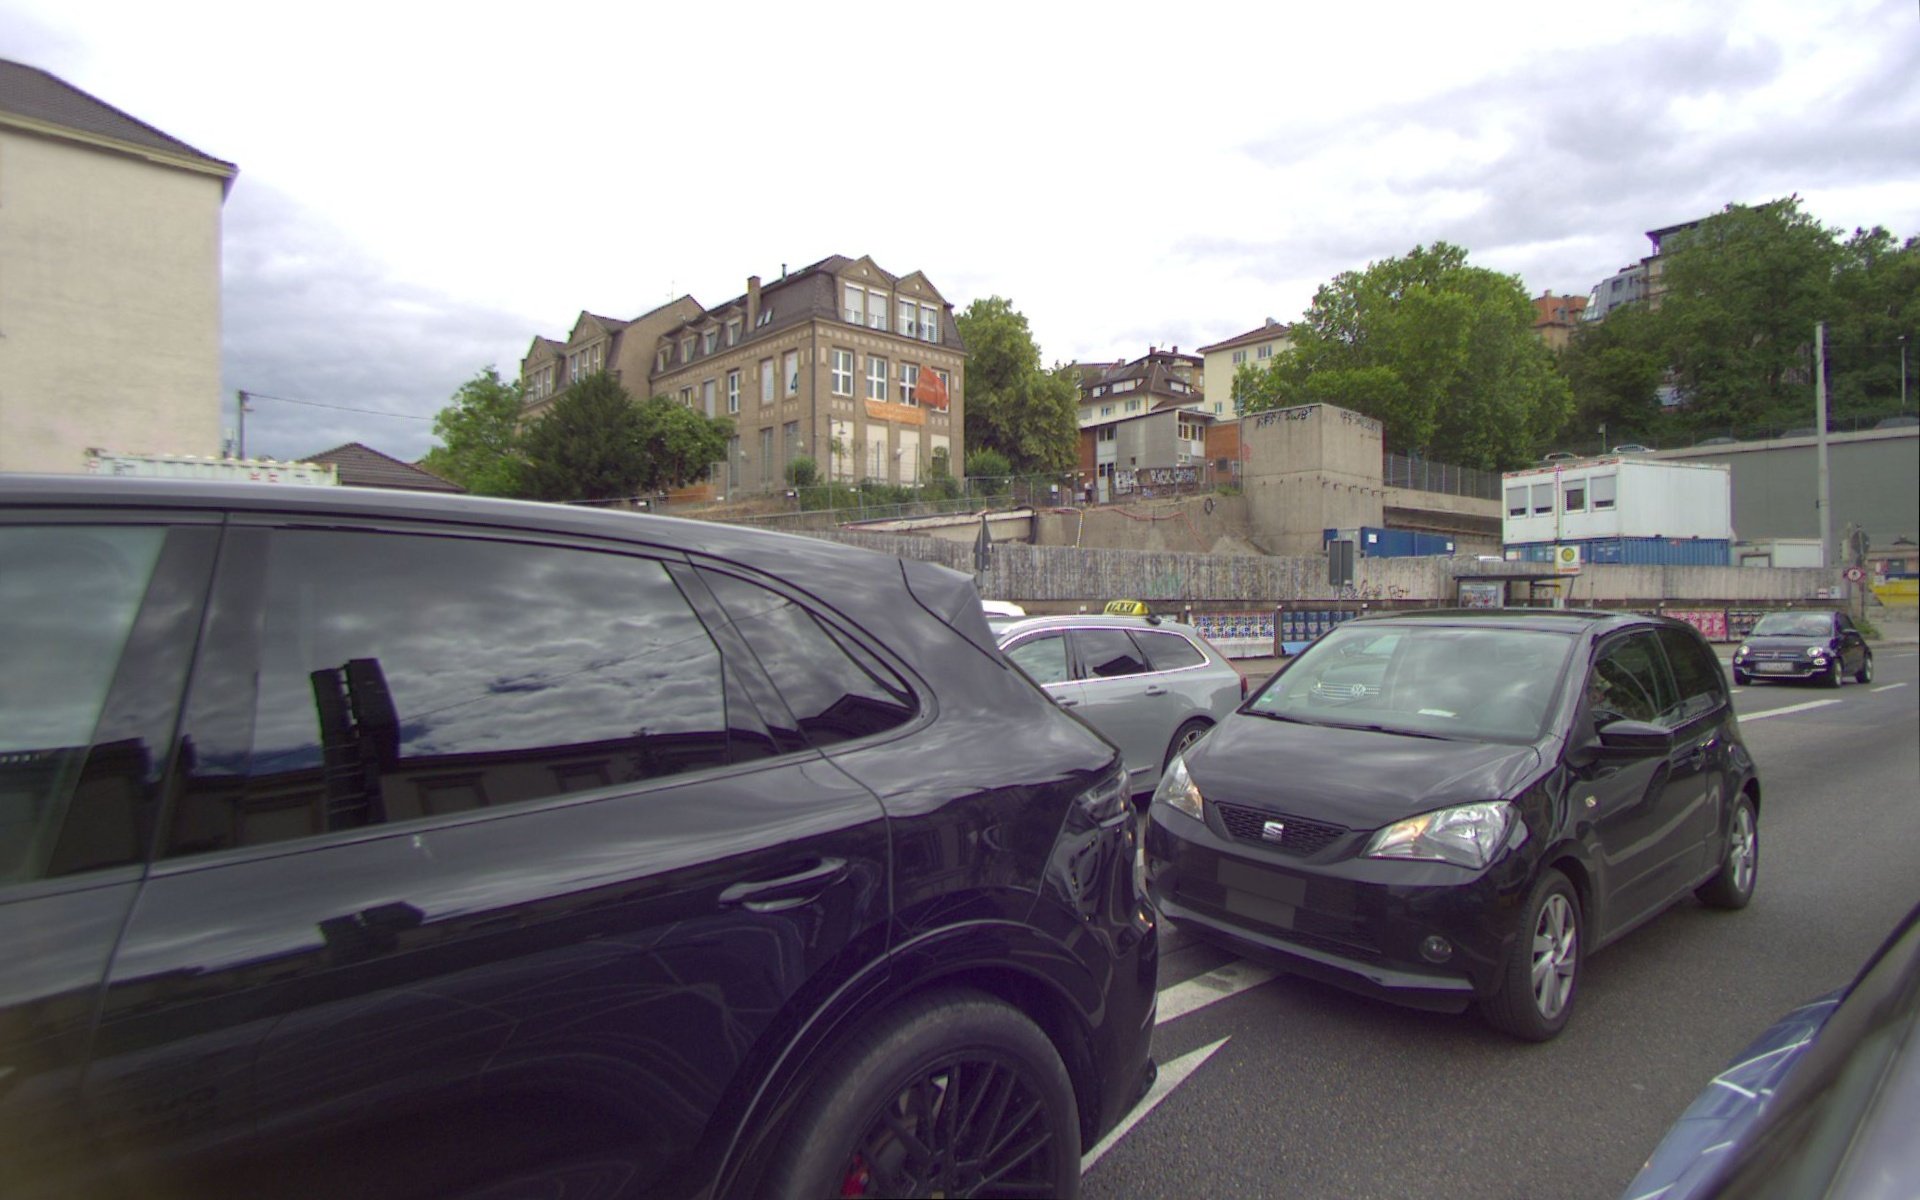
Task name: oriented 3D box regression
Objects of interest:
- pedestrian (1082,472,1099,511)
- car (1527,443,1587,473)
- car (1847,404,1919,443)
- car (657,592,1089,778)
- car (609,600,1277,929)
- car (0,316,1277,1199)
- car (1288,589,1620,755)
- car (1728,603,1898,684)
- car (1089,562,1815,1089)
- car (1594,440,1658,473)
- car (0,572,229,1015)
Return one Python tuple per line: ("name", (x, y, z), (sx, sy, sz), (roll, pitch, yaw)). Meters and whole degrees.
("pedestrian", (7.156, -5.956, 55.631), (0.656, 2.039, 0.644), (0, 0, -45))
("car", (50.247, -11.924, 85.239), (3.988, 2.039, 1.968), (0, 1, 45))
("car", (64.153, -12.200, 70.060), (1.966, 2.039, 3.991), (0, 1, -43))
("car", (-0.741, 0.719, 10.754), (4.473, 1.579, 1.702), (0, 0, -42))
("car", (0.113, 0.817, 7.152), (4.570, 1.591, 1.826), (0, 0, -39))
("car", (-1.618, 0.579, 1.708), (4.552, 1.707, 1.959), (0, -1, -40))
("car", (5.835, 0.677, 11.718), (4.468, 1.579, 1.704), (0, 0, -39))
("car", (17.147, 0.803, 20.299), (3.925, 1.462, 1.731), (0, -1, -36))
("car", (2.531, 0.655, 4.794), (3.812, 1.515, 1.667), (0, -1, -40))
("car", (53.563, -11.517, 81.450), (3.988, 2.039, 1.968), (0, 1, 45))
("car", (-4.880, 0.688, 3.426), (3.812, 1.563, 1.667), (0, -1, -40))
